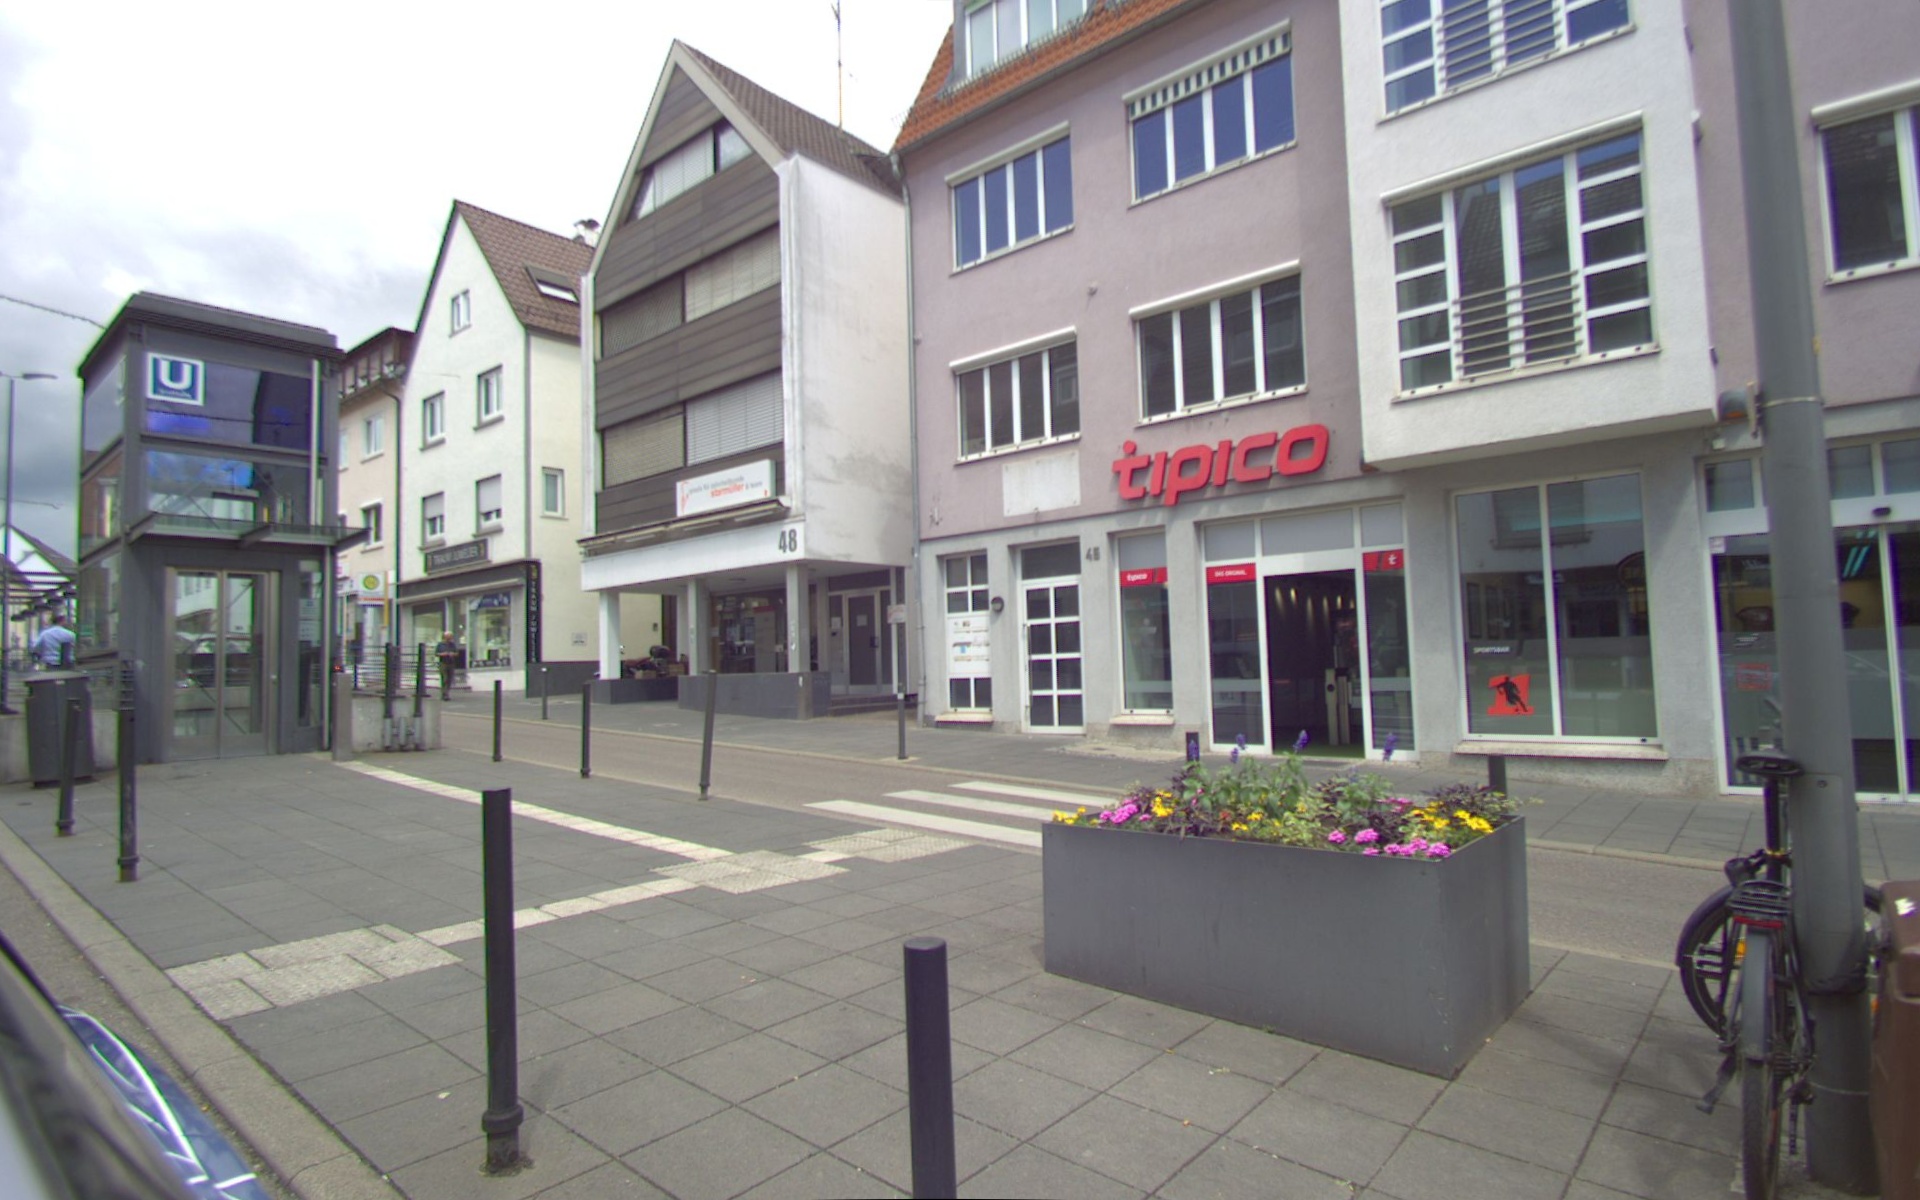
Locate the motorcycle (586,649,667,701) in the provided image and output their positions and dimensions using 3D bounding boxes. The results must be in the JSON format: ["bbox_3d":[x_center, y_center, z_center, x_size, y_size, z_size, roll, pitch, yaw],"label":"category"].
[{"bbox_3d":[-8.210,1.817,24.984,0.633,1.149,1.831,-1,0,39],"label":"motorcycle"}]

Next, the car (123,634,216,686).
[{"bbox_3d":[-26.598,1.962,34.008,4.120,1.583,1.662,-1,-1,41],"label":"car"}]

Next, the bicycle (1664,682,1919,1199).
[{"bbox_3d":[2.263,0.875,2.714,0.459,1.232,1.760,-1,-3,39],"label":"bicycle"}]

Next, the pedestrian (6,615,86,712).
[{"bbox_3d":[-18.384,1.252,20.357,0.931,1.855,1.083,-1,-1,41],"label":"pedestrian"}]

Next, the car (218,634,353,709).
[{"bbox_3d":[-16.347,1.657,24.441,4.120,1.583,1.662,-1,-1,41],"label":"car"}]

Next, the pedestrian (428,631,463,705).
[{"bbox_3d":[-12.452,1.626,24.494,0.513,1.729,0.584,-1,-1,41],"label":"pedestrian"}]

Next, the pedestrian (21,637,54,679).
[{"bbox_3d":[-37.041,2.334,40.623,0.648,1.642,0.743,-1,0,1],"label":"pedestrian"}]
